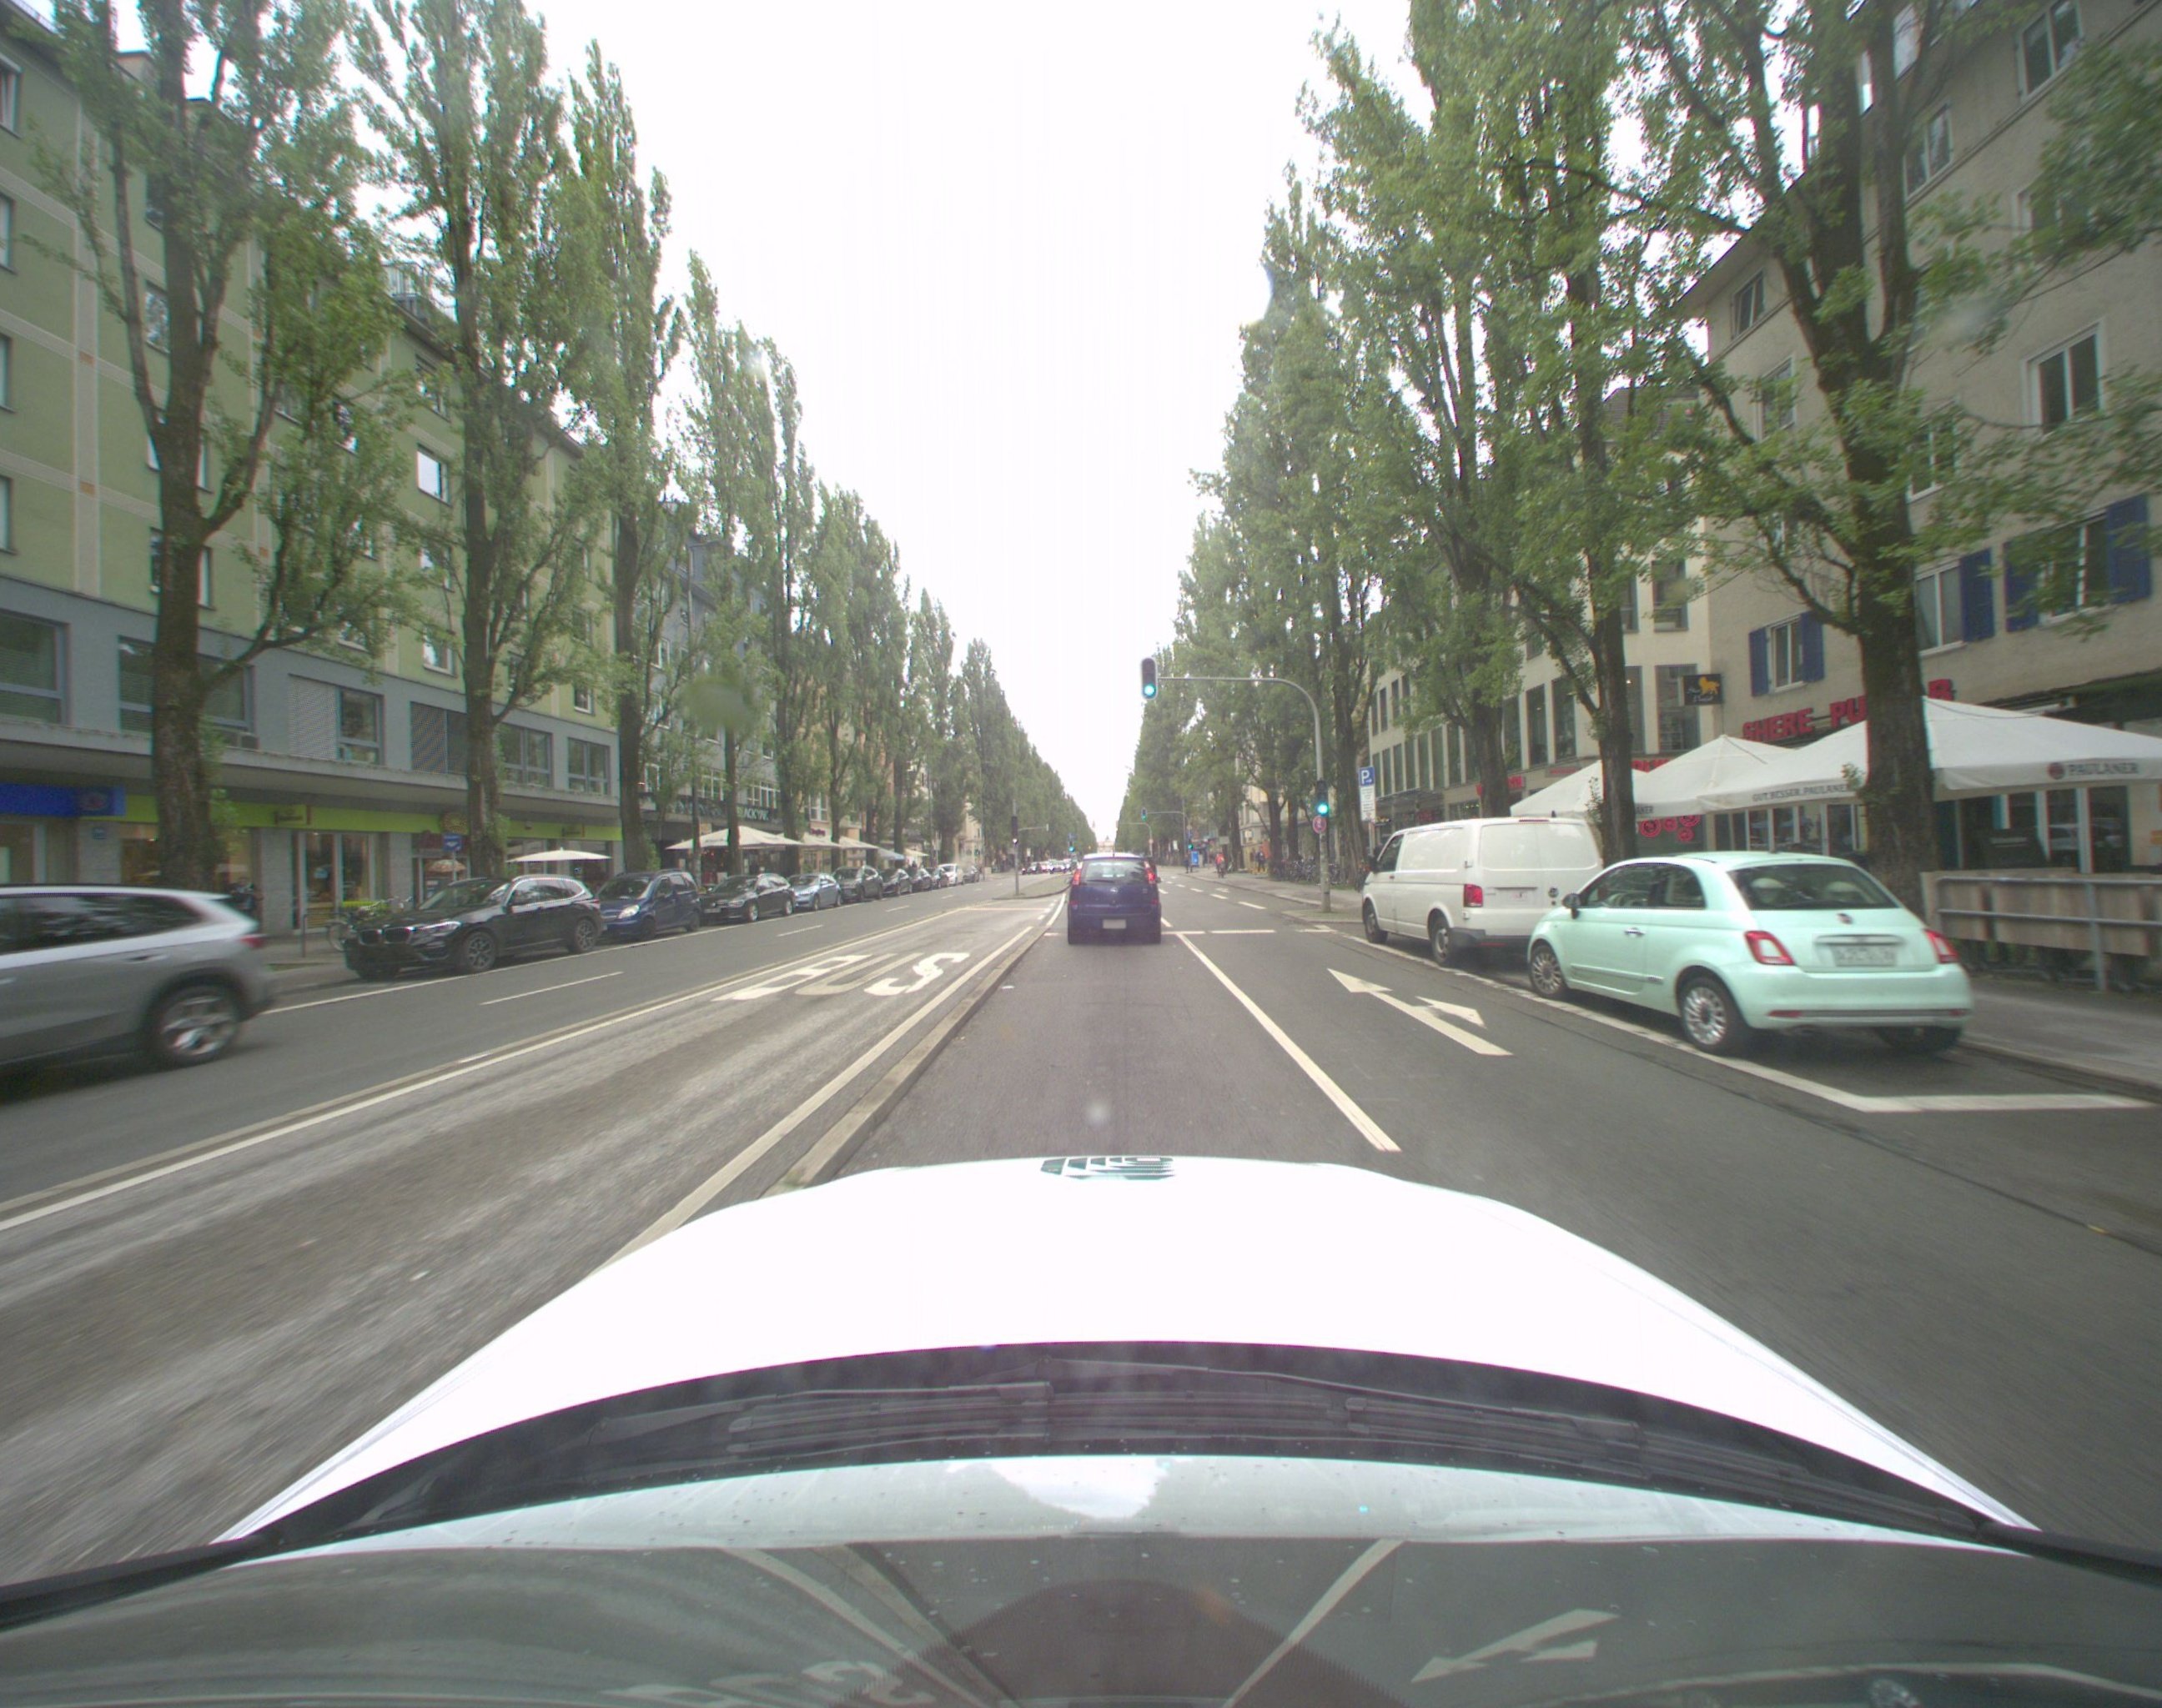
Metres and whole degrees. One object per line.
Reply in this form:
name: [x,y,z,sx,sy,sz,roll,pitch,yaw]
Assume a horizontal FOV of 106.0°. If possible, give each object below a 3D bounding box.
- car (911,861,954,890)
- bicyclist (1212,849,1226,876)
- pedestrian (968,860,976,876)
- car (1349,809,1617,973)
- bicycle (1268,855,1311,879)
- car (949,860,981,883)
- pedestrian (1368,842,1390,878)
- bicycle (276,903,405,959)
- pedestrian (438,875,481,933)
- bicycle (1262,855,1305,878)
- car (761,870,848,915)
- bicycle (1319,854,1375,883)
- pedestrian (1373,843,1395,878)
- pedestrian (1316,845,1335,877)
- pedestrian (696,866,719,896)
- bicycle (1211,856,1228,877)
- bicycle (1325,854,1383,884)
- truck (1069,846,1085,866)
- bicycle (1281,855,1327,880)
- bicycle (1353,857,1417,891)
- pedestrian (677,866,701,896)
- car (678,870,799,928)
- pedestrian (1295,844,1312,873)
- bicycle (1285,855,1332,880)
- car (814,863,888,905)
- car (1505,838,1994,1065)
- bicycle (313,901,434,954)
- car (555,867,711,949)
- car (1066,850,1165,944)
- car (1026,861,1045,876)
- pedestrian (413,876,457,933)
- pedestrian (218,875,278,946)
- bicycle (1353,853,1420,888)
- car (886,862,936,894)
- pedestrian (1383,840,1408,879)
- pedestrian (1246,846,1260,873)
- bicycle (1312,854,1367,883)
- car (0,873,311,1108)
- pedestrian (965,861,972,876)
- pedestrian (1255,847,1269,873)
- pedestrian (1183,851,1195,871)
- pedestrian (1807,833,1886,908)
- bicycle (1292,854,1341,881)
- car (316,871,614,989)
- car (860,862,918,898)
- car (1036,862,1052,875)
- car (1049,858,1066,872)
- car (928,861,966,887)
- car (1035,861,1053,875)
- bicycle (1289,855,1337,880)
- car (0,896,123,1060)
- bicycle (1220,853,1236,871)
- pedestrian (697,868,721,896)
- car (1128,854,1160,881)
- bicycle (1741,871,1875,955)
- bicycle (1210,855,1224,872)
car: [-9.737,1.389,53.750,1.859,1.665,4.122,-4,0,2]
bicyclist: [9.188,0.590,54.229,0.764,1.766,0.885,-2,-1,1]
pedestrian: [-12.588,1.619,94.318,0.768,1.766,0.881,-2,-1,-14]
car: [5.655,0.461,12.256,1.781,1.946,4.732,-2,0,2]
bicycle: [11.524,0.723,45.042,2.220,1.204,0.626,-3,-1,-1]
car: [-9.401,1.398,66.288,1.859,1.665,4.122,-4,0,2]
pedestrian: [15.286,0.330,41.807,0.719,1.827,0.885,0,-1,-8]
bicycle: [-15.557,1.606,17.153,1.943,1.095,0.718,0,0,-5]
pedestrian: [-18.907,1.512,24.790,0.753,1.686,0.675,-3,-1,3]
bicycle: [11.542,0.695,46.421,2.220,1.204,0.626,-3,-1,-1]
car: [-10.520,1.413,31.276,1.727,1.425,4.145,-4,0,2]
bicycle: [11.745,0.640,35.942,2.220,1.204,0.626,-3,-1,-1]
pedestrian: [16.050,0.341,43.159,0.719,1.827,0.885,0,-1,-8]
pedestrian: [13.879,0.397,46.158,0.719,1.827,0.885,0,-1,-8]
pedestrian: [-17.770,1.283,38.775,0.763,1.410,0.799,0,-1,-3]
bicycle: [9.196,0.800,54.183,0.769,1.349,2.450,-2,0,1]
bicycle: [11.666,0.635,34.831,2.220,1.204,0.626,-3,-1,-1]
truck: [-0.678,0.369,142.586,2.374,3.347,7.113,-2,0,2]
bicycle: [11.755,0.704,42.918,2.220,1.204,0.626,-3,-1,-1]
bicycle: [10.805,0.702,28.958,1.989,1.133,0.626,-3,-1,-1]
pedestrian: [-18.859,1.297,39.215,0.763,1.410,0.799,0,-1,-3]
car: [-10.702,1.353,25.813,1.792,1.489,4.352,-4,0,2]
pedestrian: [14.091,0.274,51.572,0.719,1.827,0.885,0,-1,-8]
bicycle: [11.760,0.693,42.122,2.220,1.204,0.626,-3,-1,-1]
car: [-10.342,1.305,36.965,1.859,1.665,4.402,-4,0,2]
car: [5.406,0.671,7.243,1.535,1.492,3.525,-1,-1,2]
bicycle: [-15.591,1.610,17.985,1.943,1.095,0.718,0,0,-5]
car: [-11.074,1.248,20.489,1.704,1.721,3.920,-4,0,-1]
car: [0.660,0.735,15.878,1.665,1.568,4.002,-1,0,2]
car: [-5.511,1.722,98.128,1.859,1.665,4.122,-2,0,2]
pedestrian: [-19.682,1.528,24.832,0.753,1.686,0.675,-3,-1,3]
pedestrian: [-20.700,1.383,20.256,0.670,1.686,0.759,-3,-1,3]
bicycle: [11.315,0.601,30.227,2.220,1.204,0.626,-3,-1,-1]
car: [-10.018,1.391,48.226,1.859,1.665,4.122,-4,0,2]
pedestrian: [13.774,0.244,35.672,0.671,1.686,0.758,-3,-1,-3]
pedestrian: [11.938,0.400,56.514,0.636,1.827,0.885,0,-1,-8]
bicycle: [11.745,0.644,37.026,2.220,1.204,0.626,-3,-1,-1]
car: [-8.639,1.042,5.896,1.764,1.635,4.456,-3,0,1]
pedestrian: [-13.321,1.710,96.597,0.768,1.766,0.882,-2,-1,-12]
pedestrian: [12.648,0.419,56.890,0.636,1.827,0.885,0,-1,-8]
pedestrian: [9.841,0.616,74.345,0.880,1.766,0.769,-2,-1,-1]
pedestrian: [13.973,0.297,14.886,0.636,1.324,0.800,-2,-1,1]
bicycle: [11.695,0.673,40.516,2.220,1.204,0.626,-3,-1,-1]
car: [-11.047,1.248,15.160,1.859,1.664,4.613,-4,0,2]
car: [-10.086,1.353,43.071,1.859,1.665,4.122,-4,0,2]
car: [-5.042,1.925,111.043,1.859,1.665,4.122,-2,0,2]
car: [-2.707,1.235,93.949,1.728,1.465,3.366,-2,0,2]
car: [-9.636,1.405,59.013,1.859,1.665,4.122,-4,0,2]
car: [-4.731,1.813,104.129,1.859,1.665,4.122,-2,0,2]
bicycle: [11.783,0.681,41.323,2.220,1.204,0.626,-3,-1,-1]
car: [-11.534,1.287,6.728,1.859,1.552,4.416,-4,0,2]
bicycle: [11.402,0.638,63.256,0.769,1.349,2.450,-2,0,1]
pedestrian: [-19.230,1.443,42.125,0.792,1.410,0.770,-1,-1,14]
car: [3.981,0.807,51.983,1.889,1.622,4.002,-1,0,2]
bicycle: [9.466,0.737,10.672,0.348,0.996,1.453,-3,-1,-2]
bicycle: [11.457,0.781,68.674,0.769,1.349,2.450,-2,0,1]
